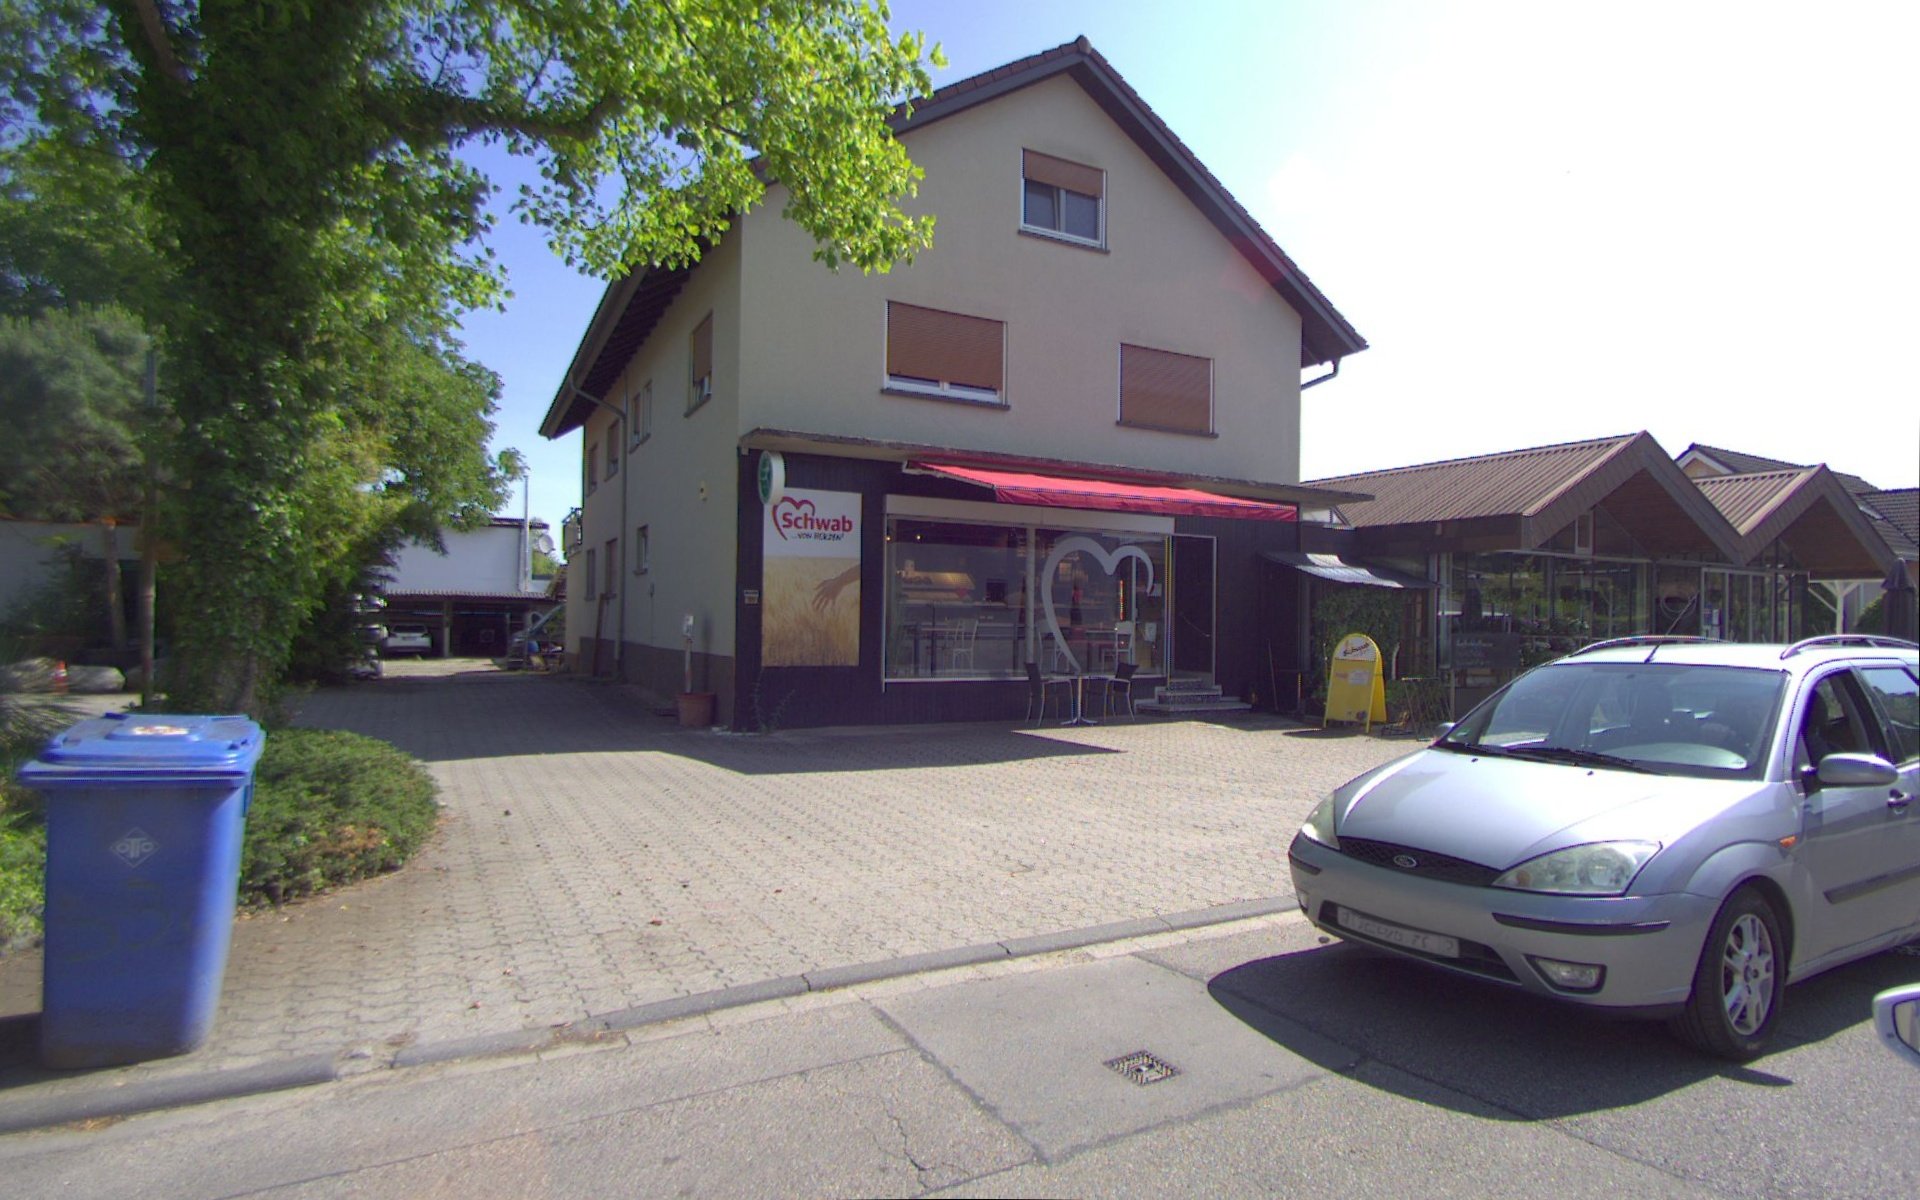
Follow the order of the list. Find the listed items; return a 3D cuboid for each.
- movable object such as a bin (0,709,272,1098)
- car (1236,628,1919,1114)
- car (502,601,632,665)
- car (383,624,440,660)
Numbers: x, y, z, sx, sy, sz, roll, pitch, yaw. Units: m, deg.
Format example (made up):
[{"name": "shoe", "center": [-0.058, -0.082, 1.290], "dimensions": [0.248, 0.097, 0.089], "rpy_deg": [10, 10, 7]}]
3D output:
[{"name": "movable object such as a bin", "center": [-2.790, 0.957, 3.455], "dimensions": [0.605, 1.068, 0.728], "rpy_deg": [1, 0, -29]}, {"name": "car", "center": [3.596, 0.932, 4.957], "dimensions": [4.321, 1.506, 1.746], "rpy_deg": [2, -3, -29]}, {"name": "car", "center": [-15.854, 1.333, 40.583], "dimensions": [4.595, 2.441, 2.178], "rpy_deg": [2, -2, -30]}, {"name": "car", "center": [-24.055, 1.819, 44.134], "dimensions": [1.877, 1.461, 3.976], "rpy_deg": [1, -2, -24]}]
